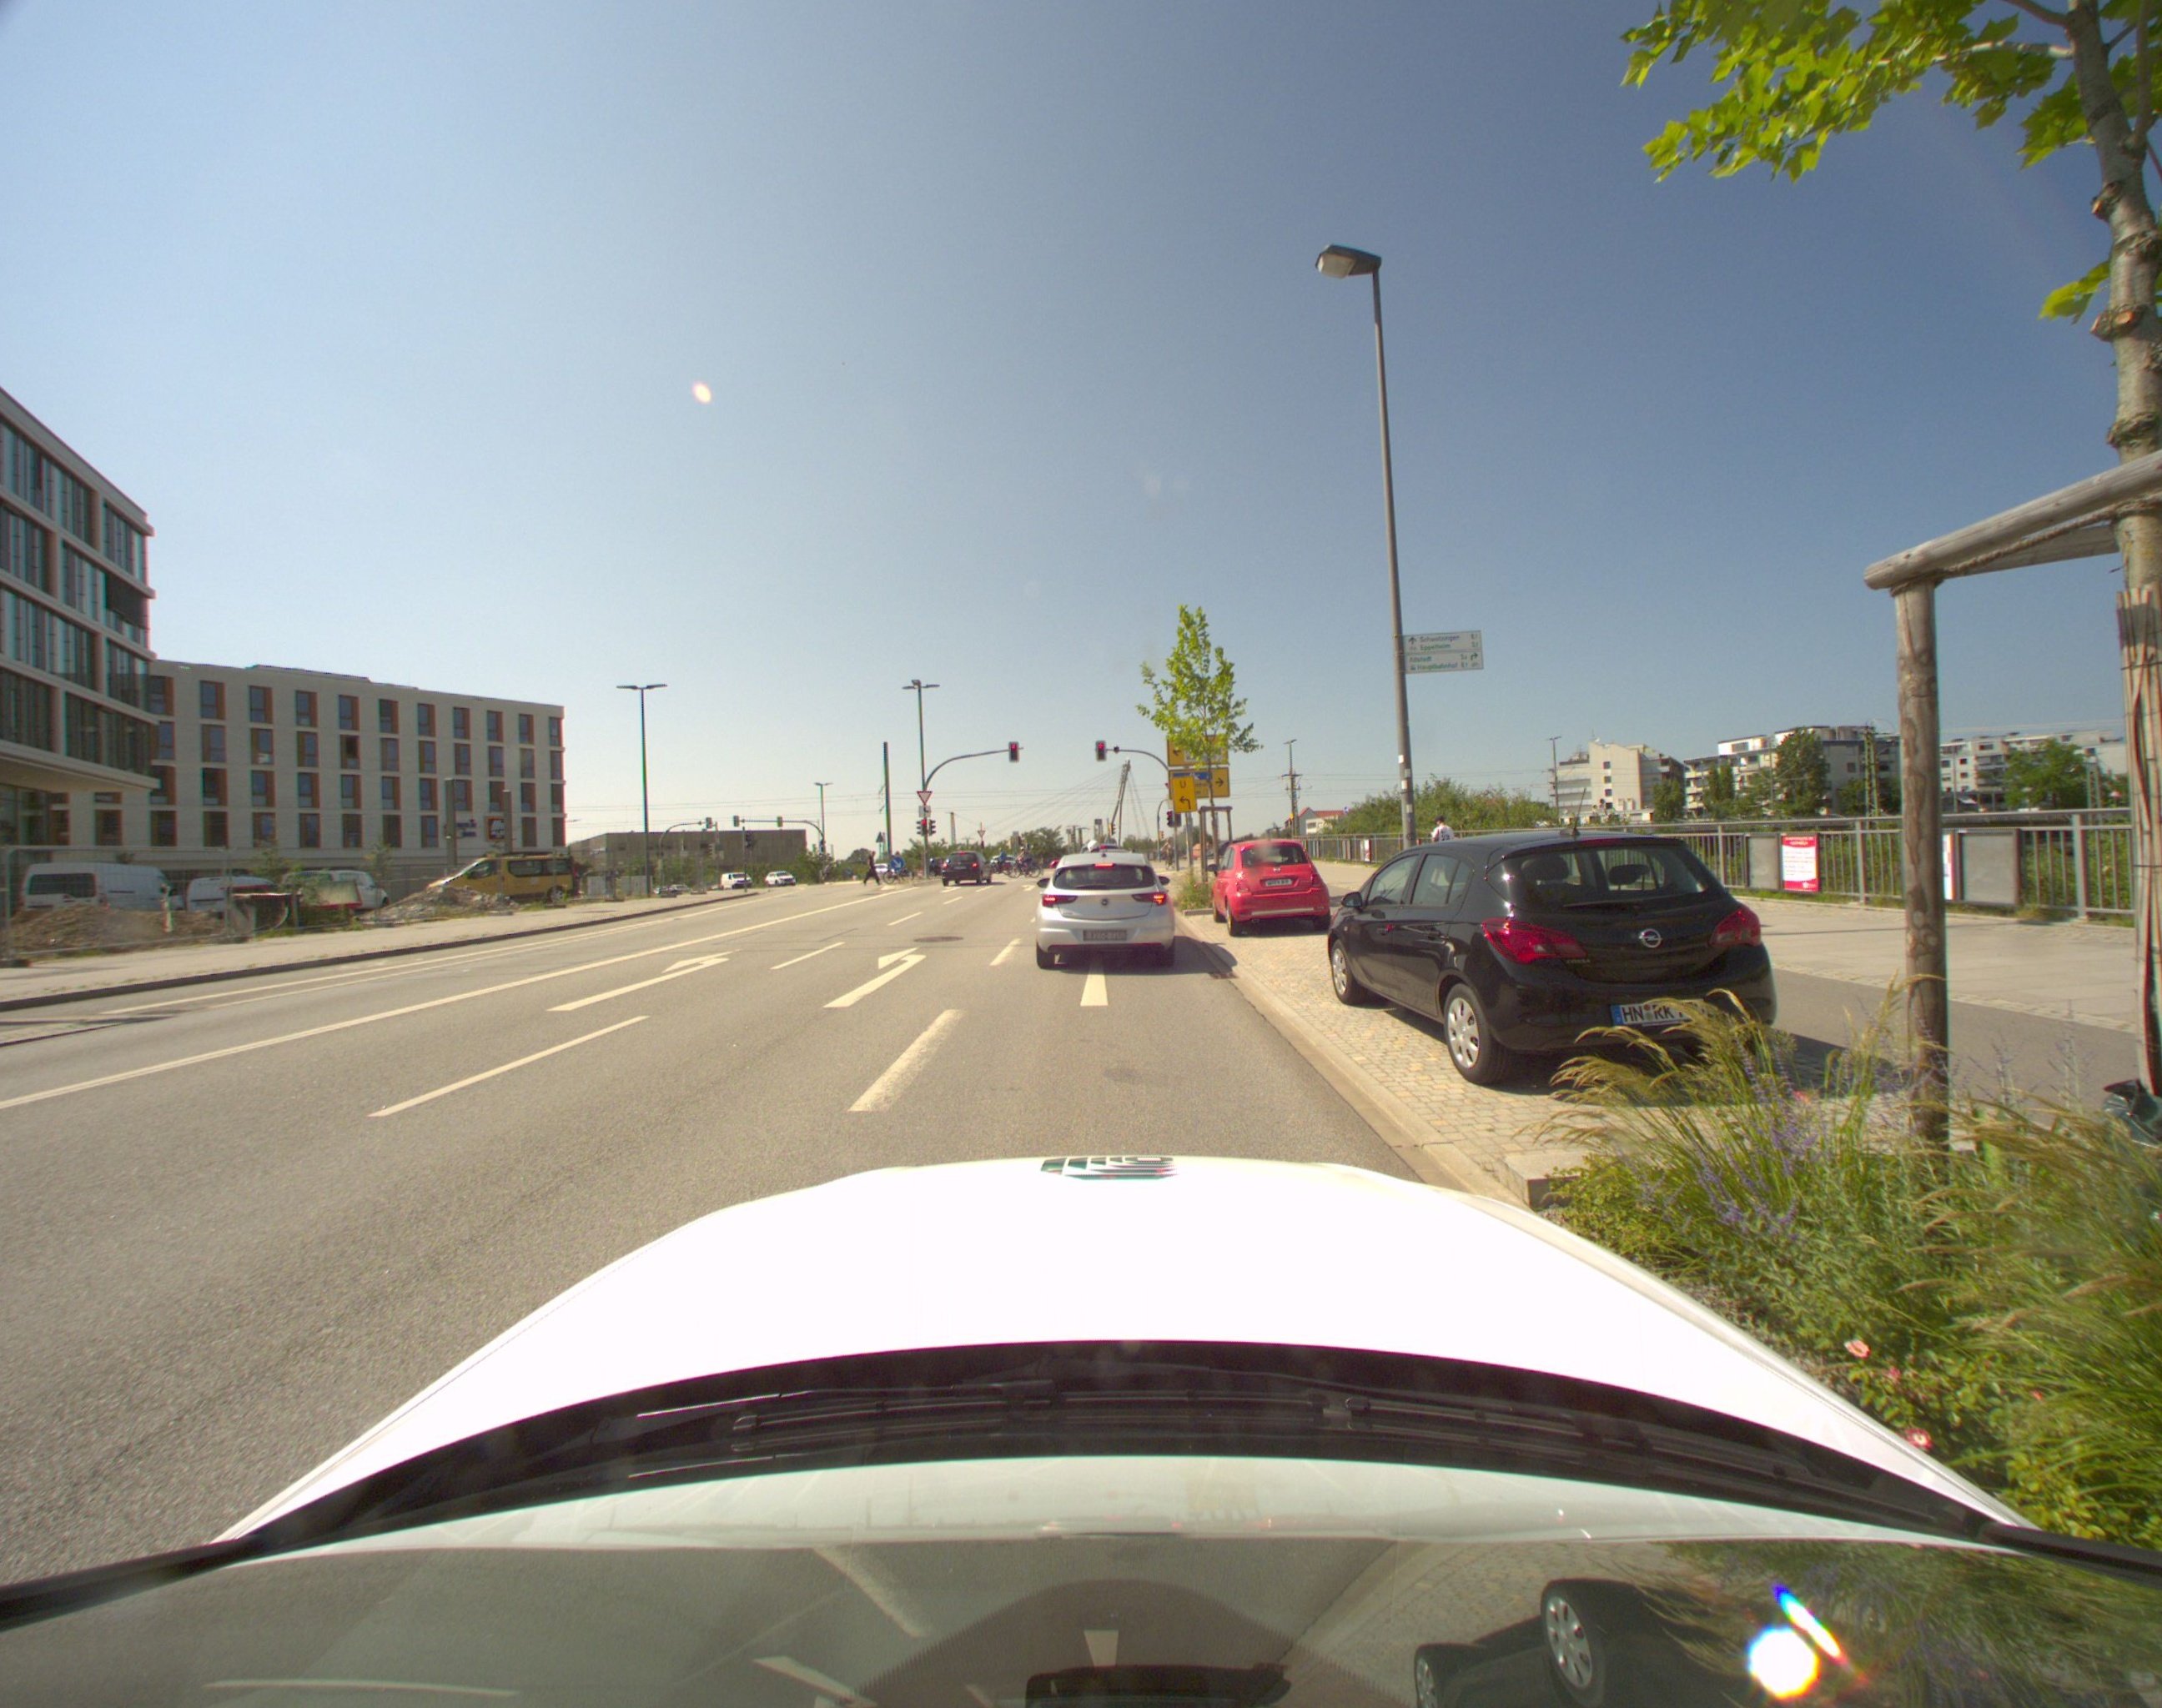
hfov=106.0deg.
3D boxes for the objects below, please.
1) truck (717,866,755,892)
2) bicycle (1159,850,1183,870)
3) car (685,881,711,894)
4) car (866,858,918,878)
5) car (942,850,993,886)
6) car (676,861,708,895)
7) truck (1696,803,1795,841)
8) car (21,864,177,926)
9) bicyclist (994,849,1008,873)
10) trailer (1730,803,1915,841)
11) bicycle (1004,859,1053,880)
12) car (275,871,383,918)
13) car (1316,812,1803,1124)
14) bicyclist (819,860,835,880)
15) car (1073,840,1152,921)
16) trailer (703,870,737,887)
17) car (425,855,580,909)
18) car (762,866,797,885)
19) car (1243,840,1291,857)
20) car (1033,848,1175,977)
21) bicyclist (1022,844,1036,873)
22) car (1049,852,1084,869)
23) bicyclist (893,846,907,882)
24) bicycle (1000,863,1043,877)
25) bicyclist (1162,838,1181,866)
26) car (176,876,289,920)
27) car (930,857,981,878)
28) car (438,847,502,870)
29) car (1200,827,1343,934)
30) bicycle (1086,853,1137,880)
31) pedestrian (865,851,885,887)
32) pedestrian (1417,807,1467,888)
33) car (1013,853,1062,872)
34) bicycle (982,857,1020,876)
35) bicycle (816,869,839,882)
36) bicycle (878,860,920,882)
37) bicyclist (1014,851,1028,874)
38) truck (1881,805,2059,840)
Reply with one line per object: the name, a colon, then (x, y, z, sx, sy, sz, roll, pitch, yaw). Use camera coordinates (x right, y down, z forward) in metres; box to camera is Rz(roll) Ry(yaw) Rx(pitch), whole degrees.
truck: (-35.700, 2.525, 84.199, 2.011, 2.540, 4.651, -1, 0, -44)
bicycle: (5.080, 0.335, 46.035, 0.669, 1.127, 2.378, -1, -1, 23)
car: (-43.292, 3.763, 92.015, 1.675, 1.389, 3.742, 0, -1, -40)
car: (-16.551, 1.227, 71.404, 3.951, 1.551, 1.680, -3, -1, 9)
car: (-4.792, 0.590, 34.803, 1.581, 1.395, 3.341, -2, -1, 2)
car: (-23.714, 1.420, 49.687, 1.679, 2.014, 3.966, 0, -1, -26)
truck: (59.722, -2.829, 73.278, 6.477, 3.204, 3.722, 0, -1, -13)
car: (-35.825, 1.423, 29.911, 2.220, 2.056, 4.134, 0, -1, -28)
bicyclist: (-5.126, 0.463, 52.300, 0.716, 1.504, 0.825, -1, -1, 2)
trailer: (68.763, -2.909, 75.482, 17.223, 3.204, 3.724, 0, -1, -14)
bicycle: (-2.782, 0.822, 42.998, 2.494, 1.007, 0.606, -2, 0, 2)
car: (-30.713, 1.580, 33.443, 2.005, 1.707, 4.521, 0, -1, -26)
car: (3.077, 0.595, 6.147, 1.575, 1.555, 3.548, -5, 0, 2)
bicyclist: (-20.885, 1.292, 66.989, 0.764, 1.610, 0.954, -1, -1, 26)
car: (0.702, 0.566, 18.763, 1.629, 1.674, 3.746, 0, 0, 2)
trailer: (-38.712, 2.576, 87.331, 2.011, 1.776, 4.233, 0, -1, -44)
car: (-22.163, 1.010, 31.335, 1.974, 1.890, 4.514, -1, -1, 40)
car: (-31.139, 2.205, 84.086, 3.996, 1.815, 1.943, -1, 0, 45)
car: (18.604, -0.559, 81.394, 4.254, 1.673, 1.990, -1, 0, -15)
car: (0.344, 0.700, 11.986, 1.684, 1.520, 4.272, -1, 0, 2)
bicyclist: (-2.749, 0.227, 42.988, 0.654, 1.502, 0.844, -1, -1, 3)
car: (-1.438, 0.672, 80.370, 3.368, 1.655, 1.648, -1, -1, 1)
bicyclist: (-9.647, 0.531, 43.442, 0.592, 1.887, 0.636, -1, -1, -3)
bicycle: (-3.189, 0.882, 43.989, 2.237, 0.692, 0.516, -2, 0, 2)
bicyclist: (5.138, -0.085, 46.191, 0.813, 1.569, 0.953, -1, -1, 23)
car: (-33.180, 1.665, 31.986, 1.809, 1.508, 3.965, 0, -1, -26)
car: (-10.192, 1.082, 66.243, 3.727, 1.583, 1.817, -1, 0, 6)
car: (-53.464, 0.401, 71.309, 3.989, 2.014, 1.992, 0, -1, -12)
car: (3.246, 0.424, 14.592, 1.663, 1.540, 3.918, -4, -1, 2)
bicycle: (1.619, 0.671, 42.962, 2.512, 1.133, 0.729, -6, 2, 4)
pedestrian: (-10.623, 0.760, 42.026, 0.735, 1.863, 0.756, -1, -1, 11)
pedestrian: (8.349, -0.147, 18.874, 0.755, 1.830, 0.885, -1, -1, 2)
car: (-3.646, 0.699, 67.875, 3.768, 1.362, 1.536, -3, 1, 8)
bicycle: (-5.138, 0.784, 52.272, 2.309, 1.133, 0.637, -2, 0, 2)
bicycle: (-20.816, 1.747, 66.940, 1.849, 1.068, 0.581, -1, -1, 25)
bicycle: (-9.701, 0.897, 43.437, 2.076, 1.178, 0.555, -1, -1, -3)
bicyclist: (-3.217, 0.459, 44.001, 0.654, 1.175, 0.731, -1, -1, 3)
truck: (87.734, -3.063, 80.362, 17.854, 3.204, 3.724, 0, -1, -14)
